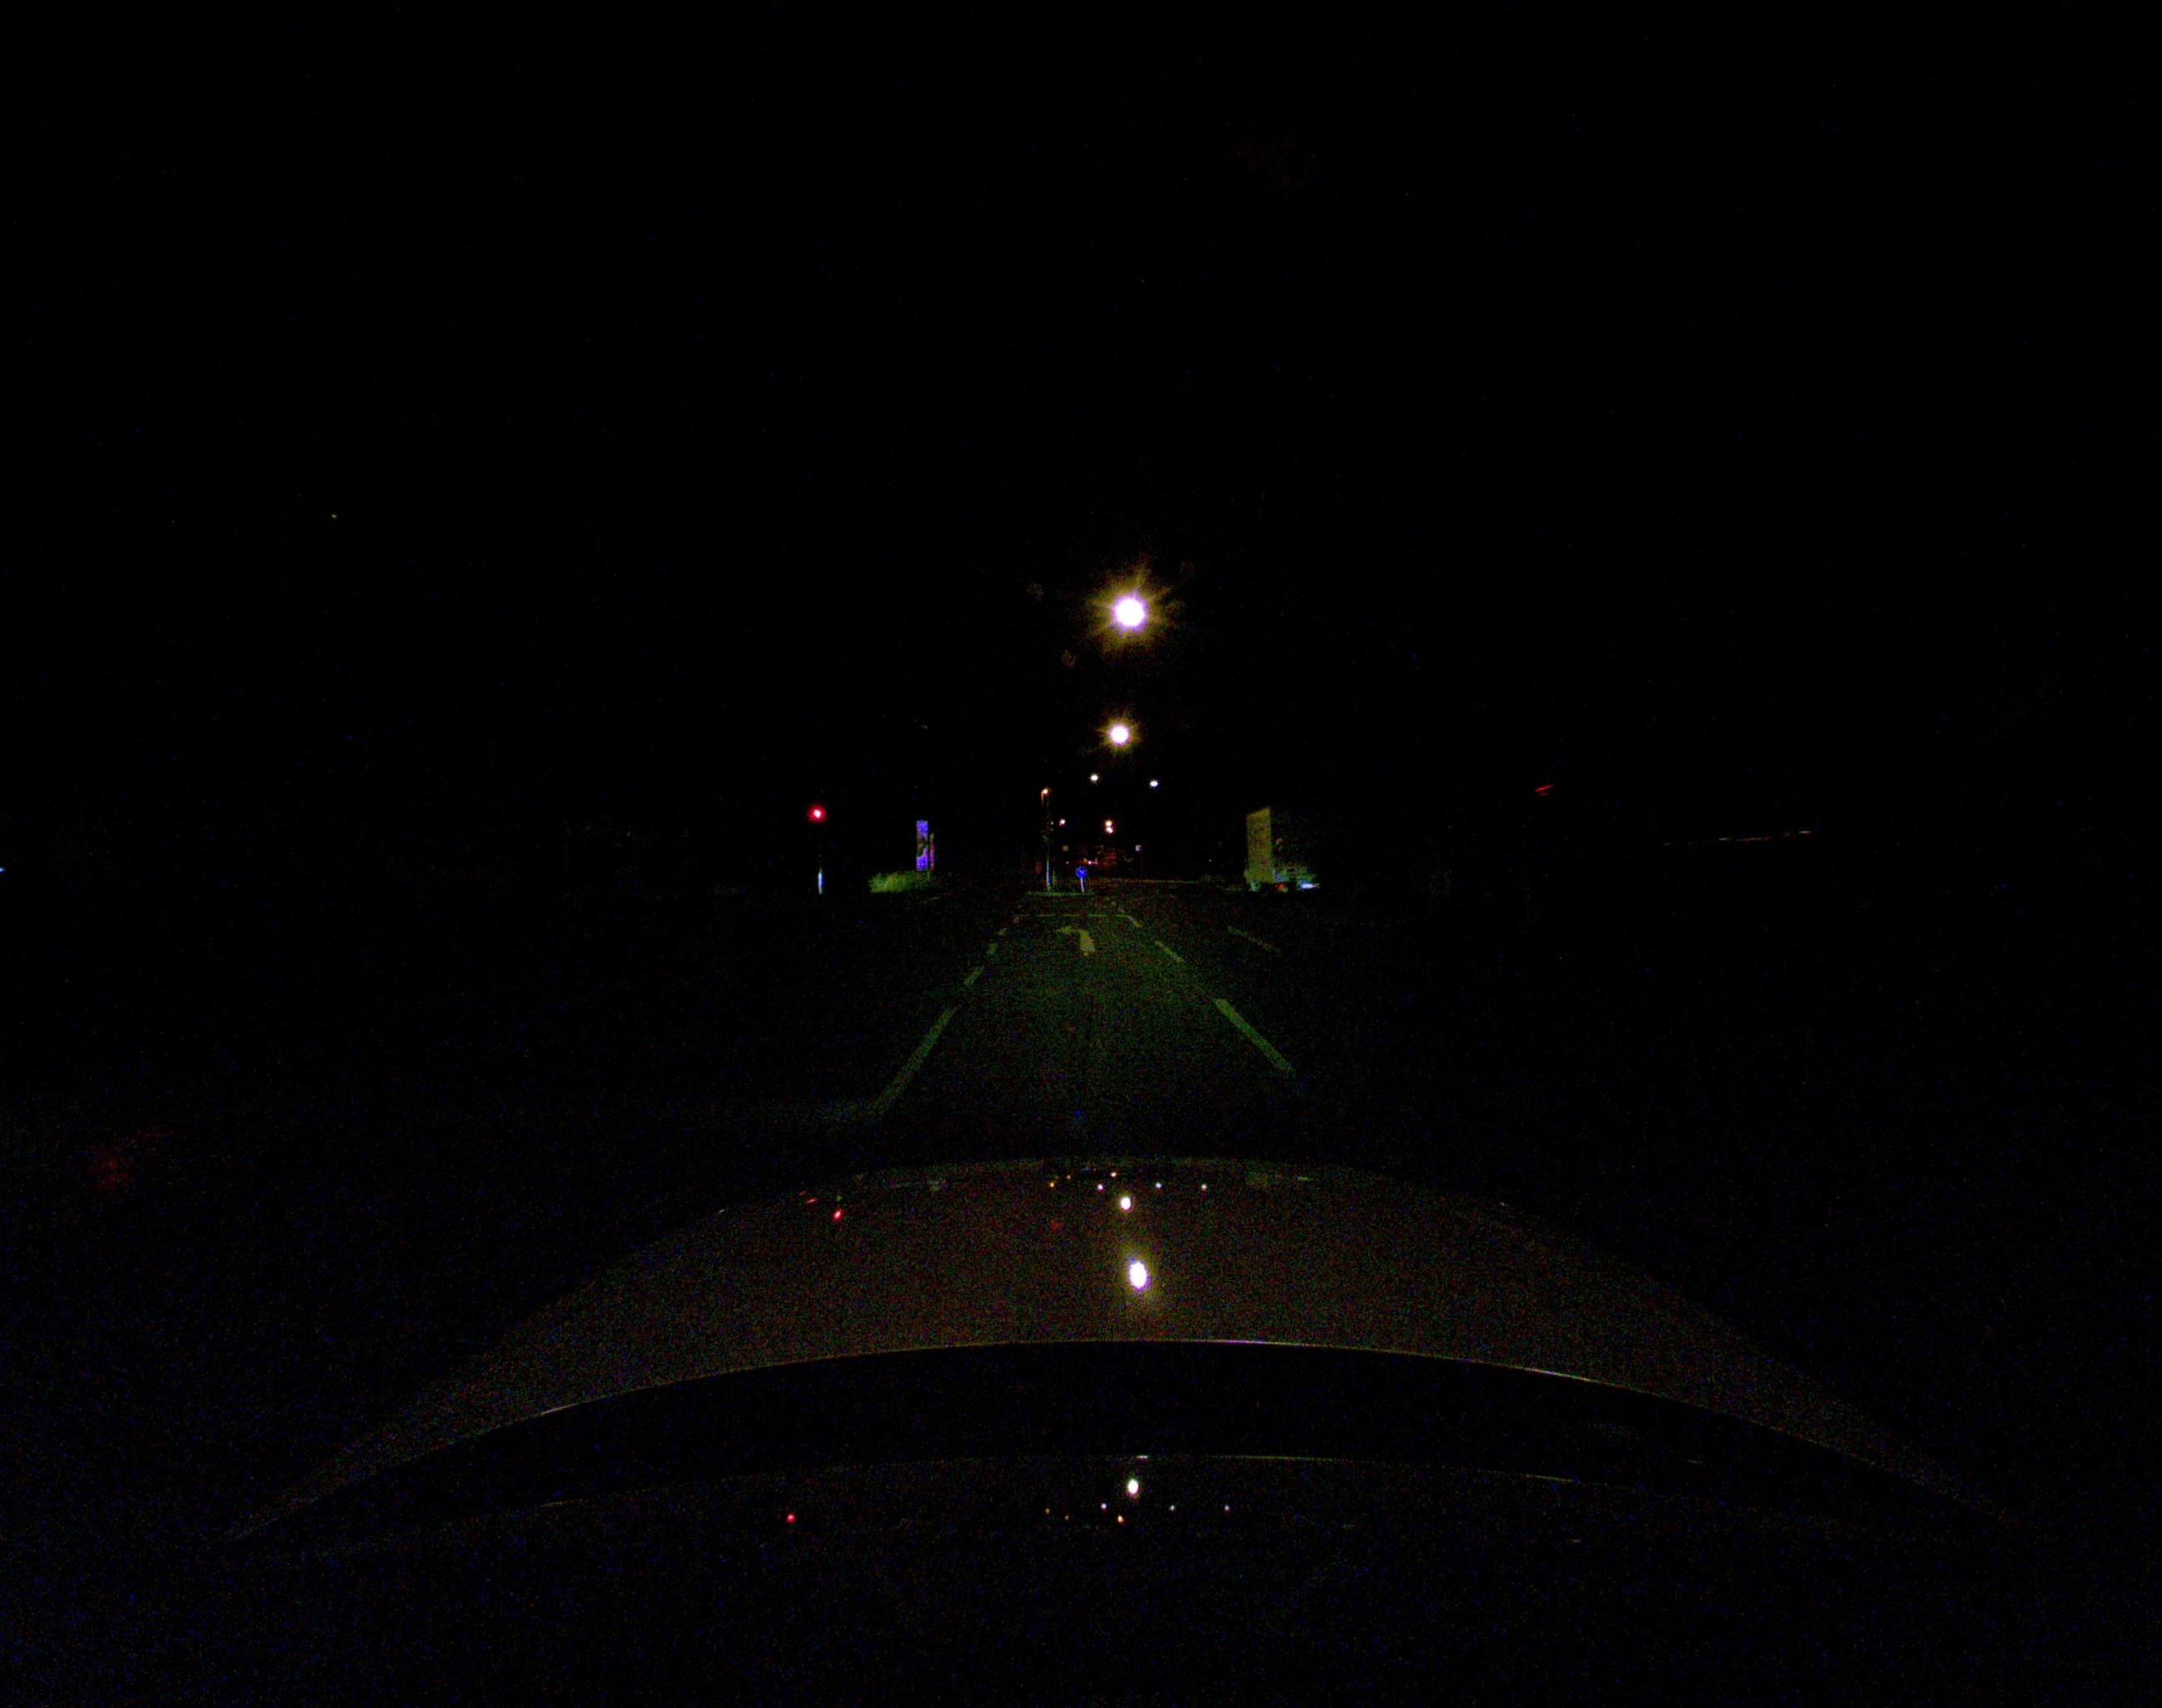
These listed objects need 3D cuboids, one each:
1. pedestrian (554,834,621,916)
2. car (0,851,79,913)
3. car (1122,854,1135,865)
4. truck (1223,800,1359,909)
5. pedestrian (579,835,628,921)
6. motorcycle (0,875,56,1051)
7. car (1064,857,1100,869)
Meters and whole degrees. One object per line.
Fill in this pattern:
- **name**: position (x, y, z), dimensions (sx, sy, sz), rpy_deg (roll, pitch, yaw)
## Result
- **pedestrian**: position (-10.982, 0.458, 18.144), dimensions (0.957, 1.769, 0.730), rpy_deg (2, -1, 5)
- **car**: position (-27.253, 0.628, 19.142), dimensions (4.306, 1.430, 1.713), rpy_deg (2, -1, -34)
- **car**: position (7.873, 0.868, 135.567), dimensions (1.986, 1.769, 4.001), rpy_deg (0, 0, 2)
- **truck**: position (6.686, 0.044, 27.059), dimensions (2.754, 3.044, 7.038), rpy_deg (-2, -1, 1)
- **pedestrian**: position (-10.239, 0.510, 17.480), dimensions (0.684, 1.792, 0.526), rpy_deg (1, -1, 20)
- **motorcycle**: position (-8.337, 0.796, 6.022), dimensions (0.621, 1.229, 2.016), rpy_deg (1, -1, -43)
- **car**: position (0.135, 1.182, 110.439), dimensions (4.454, 1.557, 2.013), rpy_deg (0, 0, 36)
